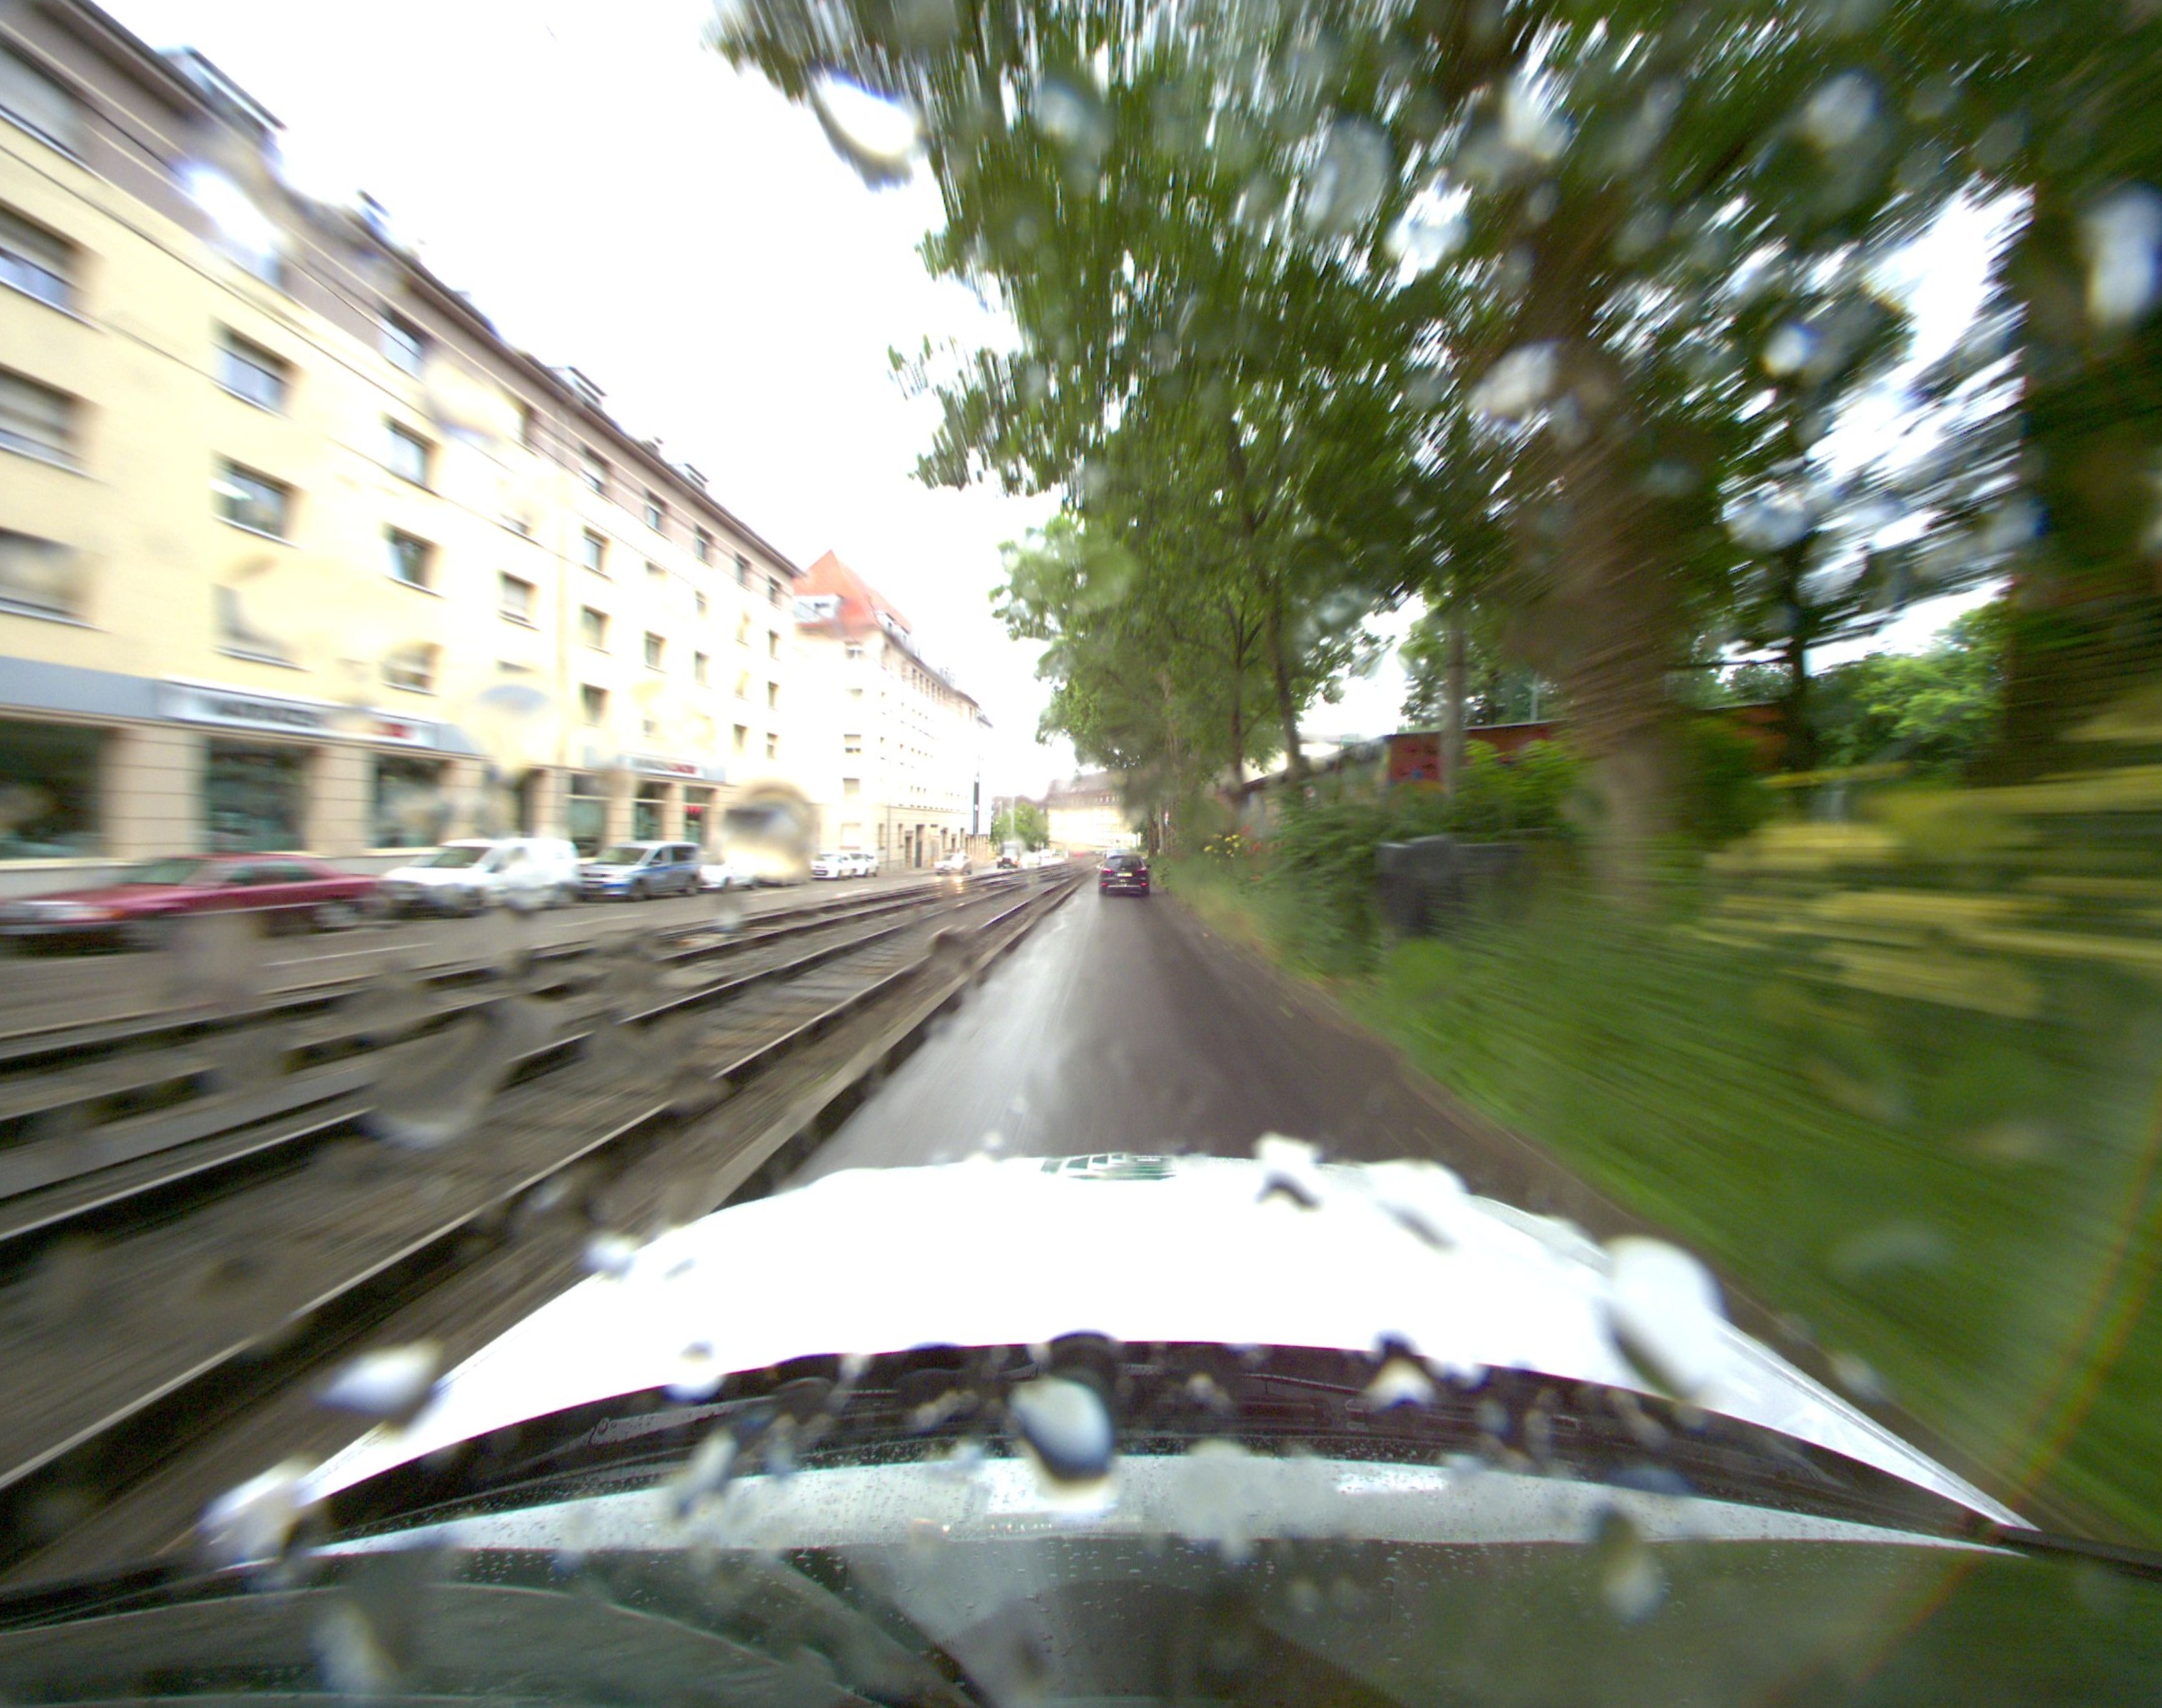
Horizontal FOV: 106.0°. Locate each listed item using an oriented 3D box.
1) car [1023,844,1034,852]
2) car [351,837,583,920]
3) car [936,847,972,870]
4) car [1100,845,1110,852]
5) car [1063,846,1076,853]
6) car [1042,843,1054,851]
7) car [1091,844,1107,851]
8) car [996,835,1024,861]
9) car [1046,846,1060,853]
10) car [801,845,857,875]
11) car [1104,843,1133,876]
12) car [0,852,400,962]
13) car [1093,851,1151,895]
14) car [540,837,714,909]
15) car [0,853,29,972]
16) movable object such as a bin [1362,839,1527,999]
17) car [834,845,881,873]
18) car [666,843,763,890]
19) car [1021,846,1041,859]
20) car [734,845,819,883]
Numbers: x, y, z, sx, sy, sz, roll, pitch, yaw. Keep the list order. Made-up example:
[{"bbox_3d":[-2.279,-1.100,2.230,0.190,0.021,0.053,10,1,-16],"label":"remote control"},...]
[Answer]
[{"bbox_3d":[-10.147,-1.099,156.402,1.991,1.542,3.991,1,0,-7],"label":"car"},{"bbox_3d":[-14.194,0.492,19.233,1.859,1.717,4.465,1,0,4],"label":"car"},{"bbox_3d":[-8.463,0.298,54.592,1.705,1.462,4.282,0,1,1],"label":"car"},{"bbox_3d":[5.417,-1.313,184.542,1.655,1.476,3.636,1,0,-6],"label":"car"},{"bbox_3d":[-2.889,-1.141,202.611,2.003,1.542,3.968,-1,1,-24],"label":"car"},{"bbox_3d":[-6.185,-1.319,152.104,1.791,1.482,4.845,1,0,4],"label":"car"},{"bbox_3d":[4.149,-1.462,188.292,2.007,1.542,3.960,1,0,-32],"label":"car"},{"bbox_3d":[-6.994,-0.533,80.909,1.985,2.451,6.003,1,0,3],"label":"car"},{"bbox_3d":[-7.255,-1.164,210.510,2.006,1.542,3.962,1,0,-30],"label":"car"},{"bbox_3d":[-13.256,0.300,43.037,1.698,1.396,3.935,2,0,0],"label":"car"},{"bbox_3d":[2.362,0.321,52.146,1.734,2.013,3.904,1,0,1],"label":"car"},{"bbox_3d":[-14.465,0.730,13.643,1.844,1.432,4.835,2,0,3],"label":"car"},{"bbox_3d":[1.446,0.632,29.861,1.926,1.452,4.319,2,0,1],"label":"car"},{"bbox_3d":[-13.833,0.490,25.311,1.985,1.904,5.465,2,1,4],"label":"car"},{"bbox_3d":[-14.491,0.745,8.038,1.847,1.508,4.987,1,0,-3],"label":"car"},{"bbox_3d":[3.599,0.596,8.233,1.389,1.453,1.222,-1,1,18],"label":"movable object such as a bin"},{"bbox_3d":[-13.026,0.272,47.673,1.702,1.449,3.542,3,0,0],"label":"car"},{"bbox_3d":[-13.561,0.406,30.412,1.686,1.439,4.050,-4,2,0],"label":"car"},{"bbox_3d":[-6.031,-0.247,98.807,1.872,1.486,4.858,1,1,3],"label":"car"},{"bbox_3d":[-13.218,0.370,35.662,1.806,1.499,4.585,2,1,2],"label":"car"}]
